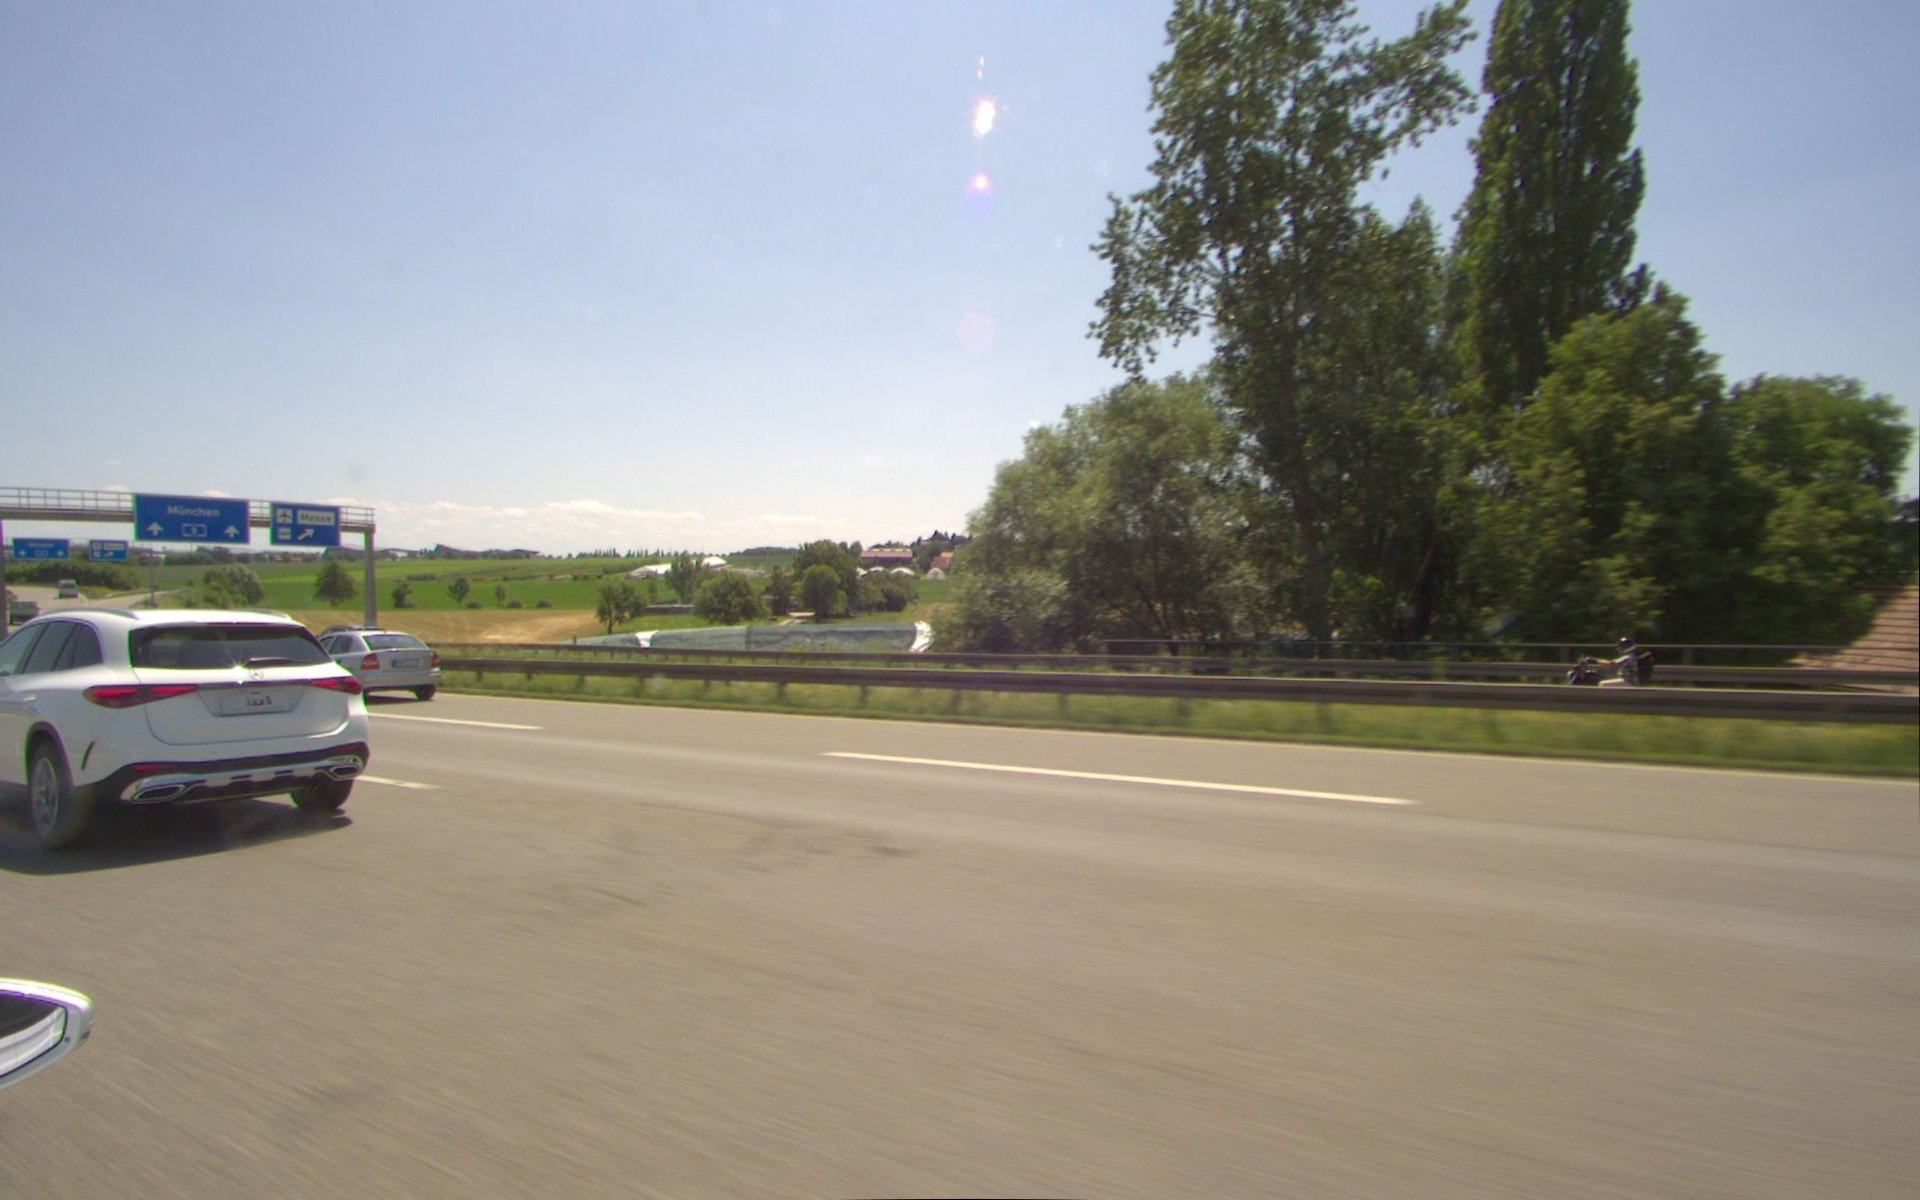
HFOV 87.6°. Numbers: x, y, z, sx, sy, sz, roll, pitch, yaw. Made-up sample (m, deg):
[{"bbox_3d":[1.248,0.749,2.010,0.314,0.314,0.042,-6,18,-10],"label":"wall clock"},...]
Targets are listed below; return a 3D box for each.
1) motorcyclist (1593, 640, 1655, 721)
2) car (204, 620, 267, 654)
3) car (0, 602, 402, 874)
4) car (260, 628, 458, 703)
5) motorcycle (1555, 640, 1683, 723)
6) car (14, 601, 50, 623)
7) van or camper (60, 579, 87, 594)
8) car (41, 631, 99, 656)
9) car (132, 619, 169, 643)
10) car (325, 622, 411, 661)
[{"bbox_3d":[11.711,1.397,17.689,0.865,1.384,0.667,-1,-1,31],"label":"motorcyclist"},{"bbox_3d":[-43.310,2.180,59.841,4.126,1.948,1.932,-1,-1,37],"label":"car"},{"bbox_3d":[-6.921,0.909,8.253,4.926,1.668,1.895,-1,-1,31],"label":"car"},{"bbox_3d":[-12.929,1.333,21.458,4.780,1.456,1.782,-1,-1,34],"label":"car"},{"bbox_3d":[11.637,1.411,17.746,1.843,1.384,0.758,-1,-1,32],"label":"motorcycle"},{"bbox_3d":[-87.322,1.134,94.201,3.953,2.039,1.985,-1,-1,40],"label":"car"},{"bbox_3d":[-134.403,-2.073,151.838,4.410,2.039,2.517,-1,-2,41],"label":"van or camper"},{"bbox_3d":[-59.801,2.877,67.259,3.944,1.616,1.989,-1,-1,33],"label":"car"},{"bbox_3d":[-66.553,2.520,82.266,4.137,1.948,1.927,-2,-2,45],"label":"car"},{"bbox_3d":[-25.354,1.771,42.881,4.074,1.595,1.695,-1,-1,36],"label":"car"}]
